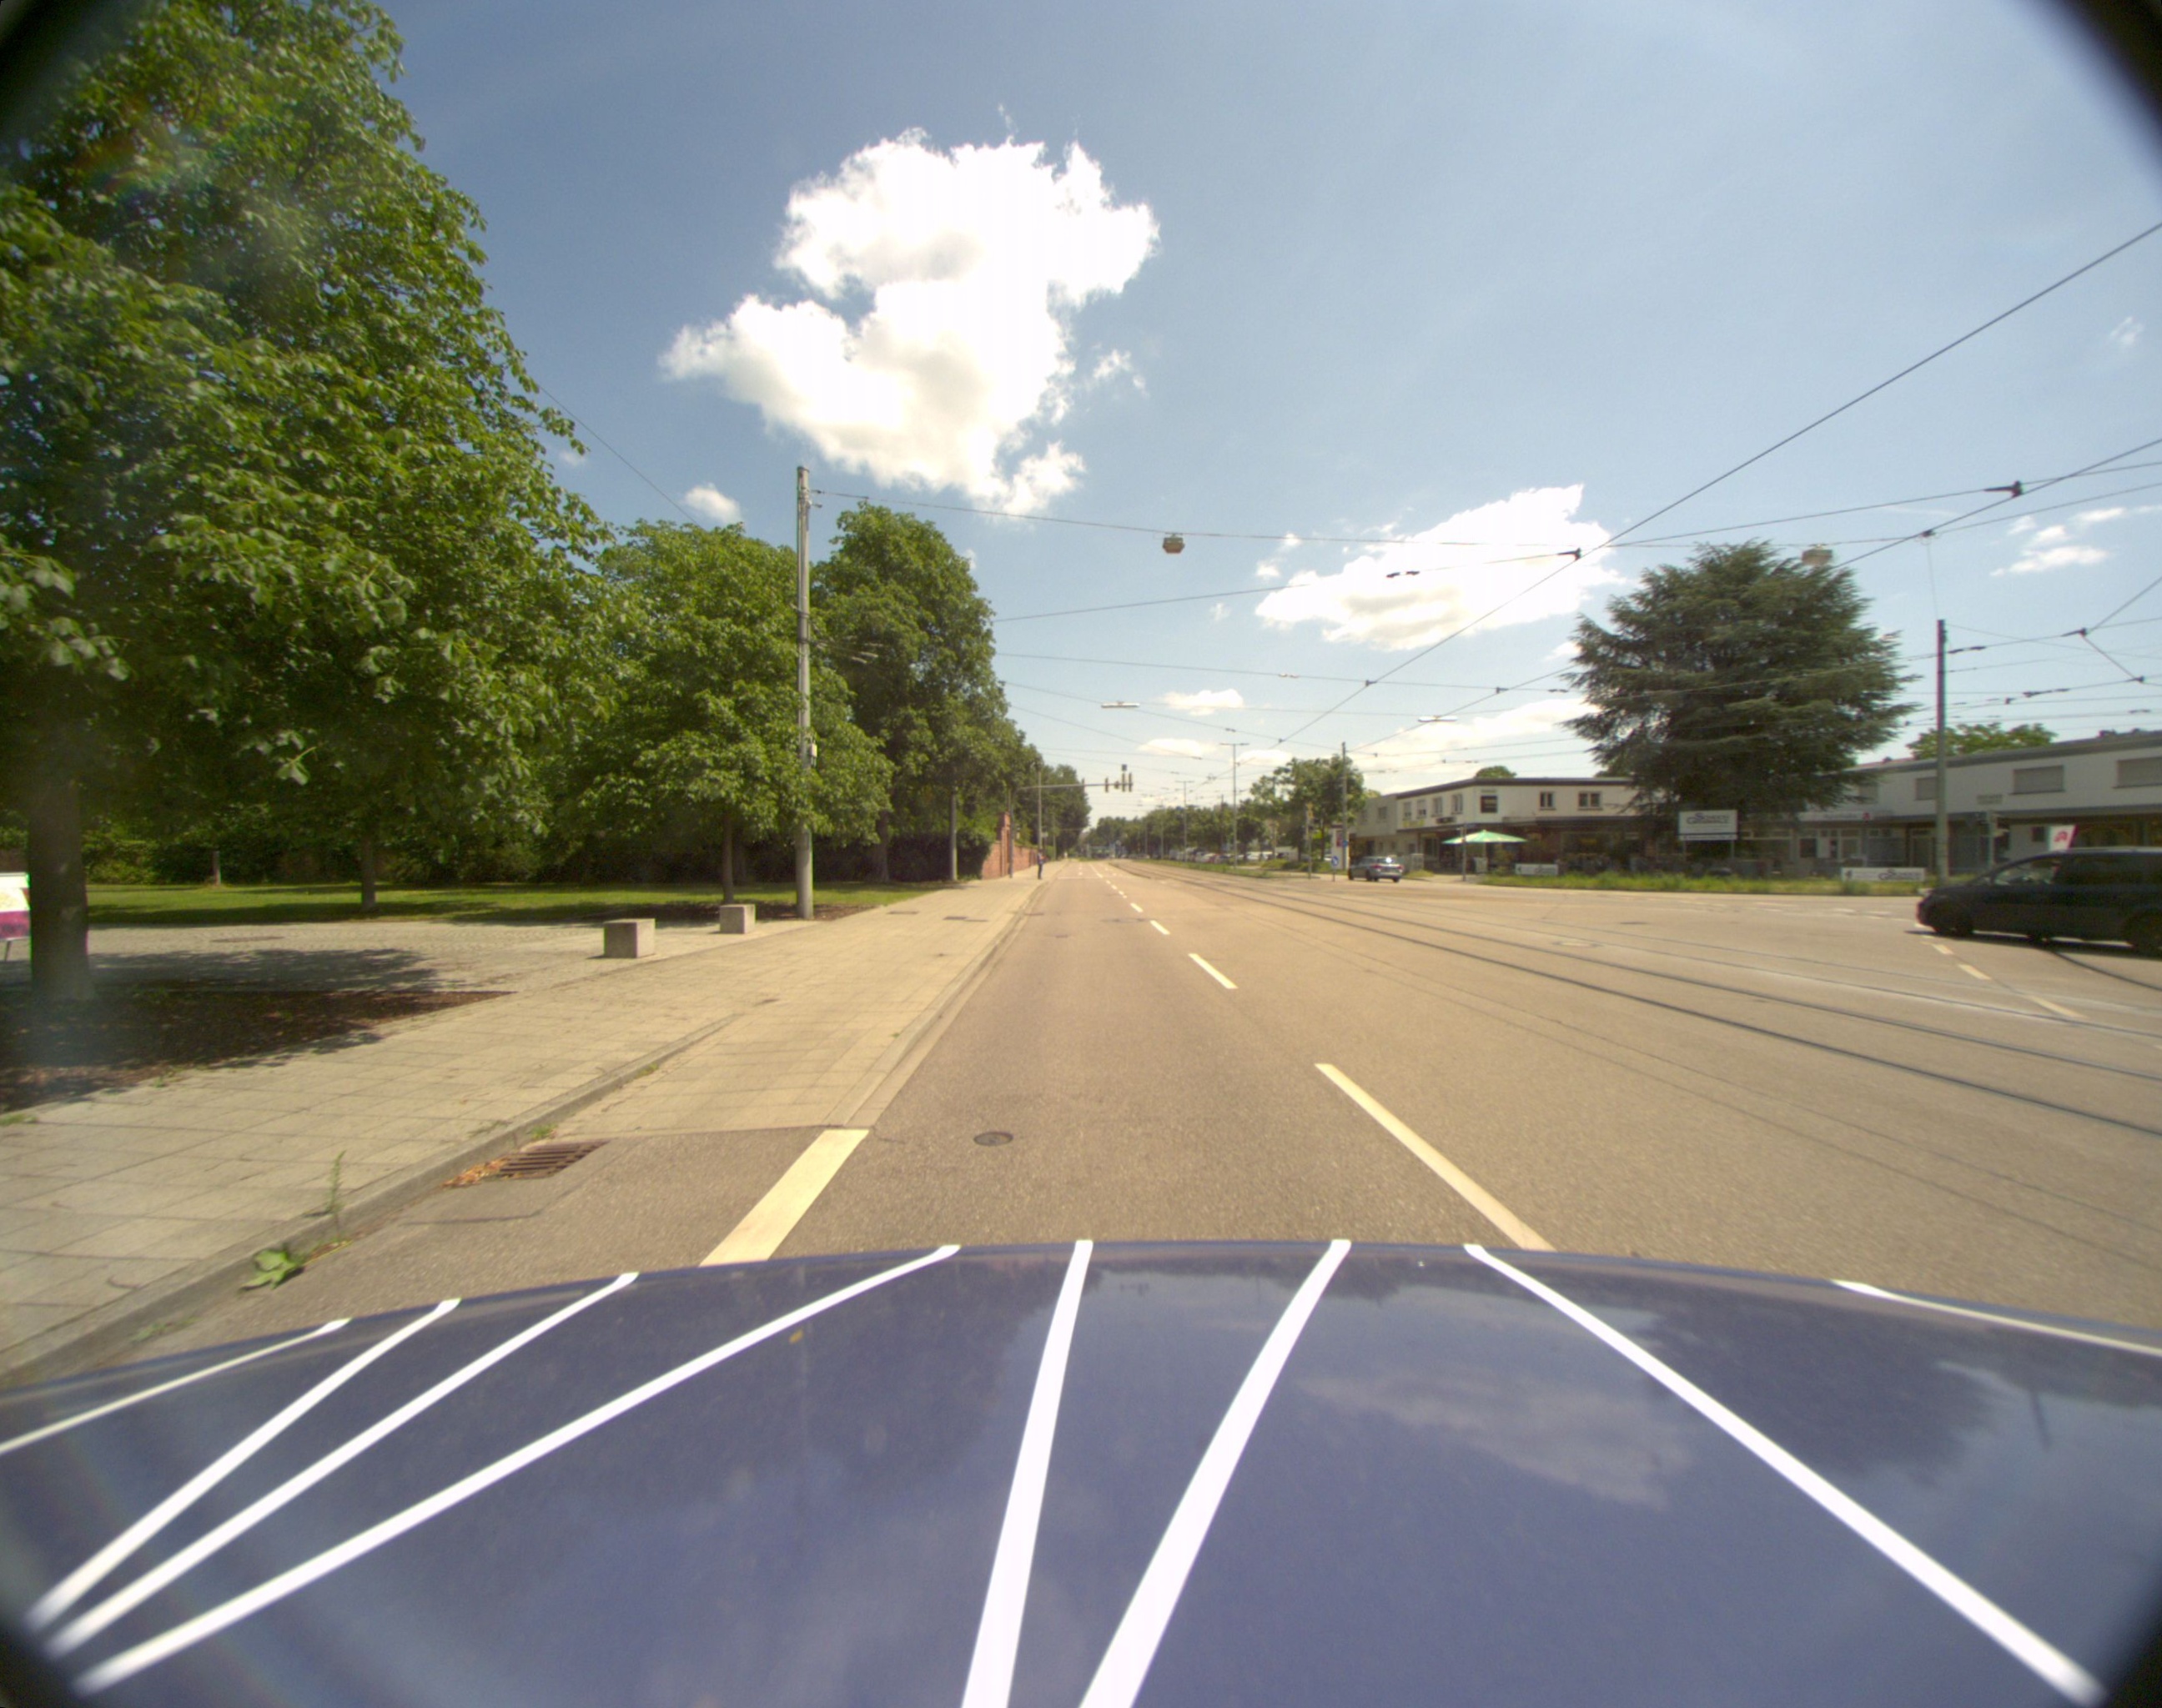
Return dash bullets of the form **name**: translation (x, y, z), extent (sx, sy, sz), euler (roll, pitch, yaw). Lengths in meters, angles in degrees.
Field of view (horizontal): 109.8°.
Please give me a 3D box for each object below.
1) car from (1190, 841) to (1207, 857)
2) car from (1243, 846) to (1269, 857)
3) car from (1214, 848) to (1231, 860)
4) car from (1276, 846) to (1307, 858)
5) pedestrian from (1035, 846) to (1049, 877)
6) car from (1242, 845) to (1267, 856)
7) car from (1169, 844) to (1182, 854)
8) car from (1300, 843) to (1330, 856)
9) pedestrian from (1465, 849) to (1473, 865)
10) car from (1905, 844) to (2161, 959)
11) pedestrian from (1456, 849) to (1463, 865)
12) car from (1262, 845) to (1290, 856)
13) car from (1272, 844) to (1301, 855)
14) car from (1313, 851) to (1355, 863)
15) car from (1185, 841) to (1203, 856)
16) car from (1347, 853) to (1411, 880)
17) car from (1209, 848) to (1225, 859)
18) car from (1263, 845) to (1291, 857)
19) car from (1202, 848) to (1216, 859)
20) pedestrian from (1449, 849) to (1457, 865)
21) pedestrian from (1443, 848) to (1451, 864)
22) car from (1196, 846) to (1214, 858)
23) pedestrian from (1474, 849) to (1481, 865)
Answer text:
- **car**: translation (20.374, -0.831, 131.974), extent (2.156, 2.597, 5.032), euler (-2, 1, 0)
- **car**: translation (29.975, -0.441, 129.998), extent (3.997, 1.726, 1.803), euler (2, 1, 1)
- **car**: translation (20.357, 0.019, 109.435), extent (1.580, 1.531, 4.550), euler (-2, 1, 1)
- **car**: translation (30.811, -0.273, 111.279), extent (3.997, 1.726, 1.879), euler (0, 1, 1)
- **pedestrian**: translation (-2.293, 0.428, 44.564), extent (0.767, 1.841, 0.717), euler (0, 1, -6)
- **car**: translation (31.652, -0.652, 138.662), extent (4.199, 1.726, 1.803), euler (2, 1, 1)
- **car**: translation (20.834, -1.020, 167.581), extent (2.071, 2.089, 4.487), euler (-2, 1, -1)
- **car**: translation (42.094, -0.857, 136.859), extent (4.652, 2.212, 1.851), euler (2, 2, -2)
- **pedestrian**: translation (30.254, 0.197, 59.273), extent (0.387, 1.239, 0.400), euler (0, 1, 1)
- **car**: translation (16.534, 0.682, 12.327), extent (1.728, 1.673, 4.279), euler (0, 0, 2)
- **pedestrian**: translation (29.362, 0.223, 58.944), extent (0.319, 1.261, 0.501), euler (0, 1, 1)
- **car**: translation (31.981, -0.555, 124.587), extent (3.997, 1.726, 1.902), euler (0, 1, 1)
- **car**: translation (45.004, -1.056, 166.754), extent (5.698, 2.467, 2.259), euler (0, 1, -2)
- **car**: translation (31.049, 0.311, 93.241), extent (4.484, 1.426, 1.907), euler (0, 1, 3)
- **car**: translation (20.737, -1.062, 140.094), extent (2.156, 2.597, 6.702), euler (-2, 1, -1)
- **car**: translation (17.411, 0.689, 44.619), extent (1.999, 1.463, 4.401), euler (0, 0, 0)
- **car**: translation (20.534, -0.096, 114.656), extent (1.503, 1.531, 3.648), euler (-2, 1, -3)
- **car**: translation (31.479, -0.512, 122.043), extent (3.997, 1.726, 1.803), euler (2, 1, 1)
- **car**: translation (20.044, -0.137, 119.320), extent (1.503, 1.531, 4.358), euler (-2, 1, 1)
- **pedestrian**: translation (29.394, 0.211, 60.033), extent (0.345, 1.261, 0.528), euler (0, 1, 3)
- **pedestrian**: translation (29.454, 0.184, 61.155), extent (0.354, 1.261, 0.533), euler (0, 1, 1)
- **car**: translation (20.507, -0.372, 126.076), extent (2.156, 1.827, 4.887), euler (-2, 1, 0)
- **pedestrian**: translation (30.041, 0.235, 57.593), extent (0.341, 1.261, 0.452), euler (0, 1, 3)
